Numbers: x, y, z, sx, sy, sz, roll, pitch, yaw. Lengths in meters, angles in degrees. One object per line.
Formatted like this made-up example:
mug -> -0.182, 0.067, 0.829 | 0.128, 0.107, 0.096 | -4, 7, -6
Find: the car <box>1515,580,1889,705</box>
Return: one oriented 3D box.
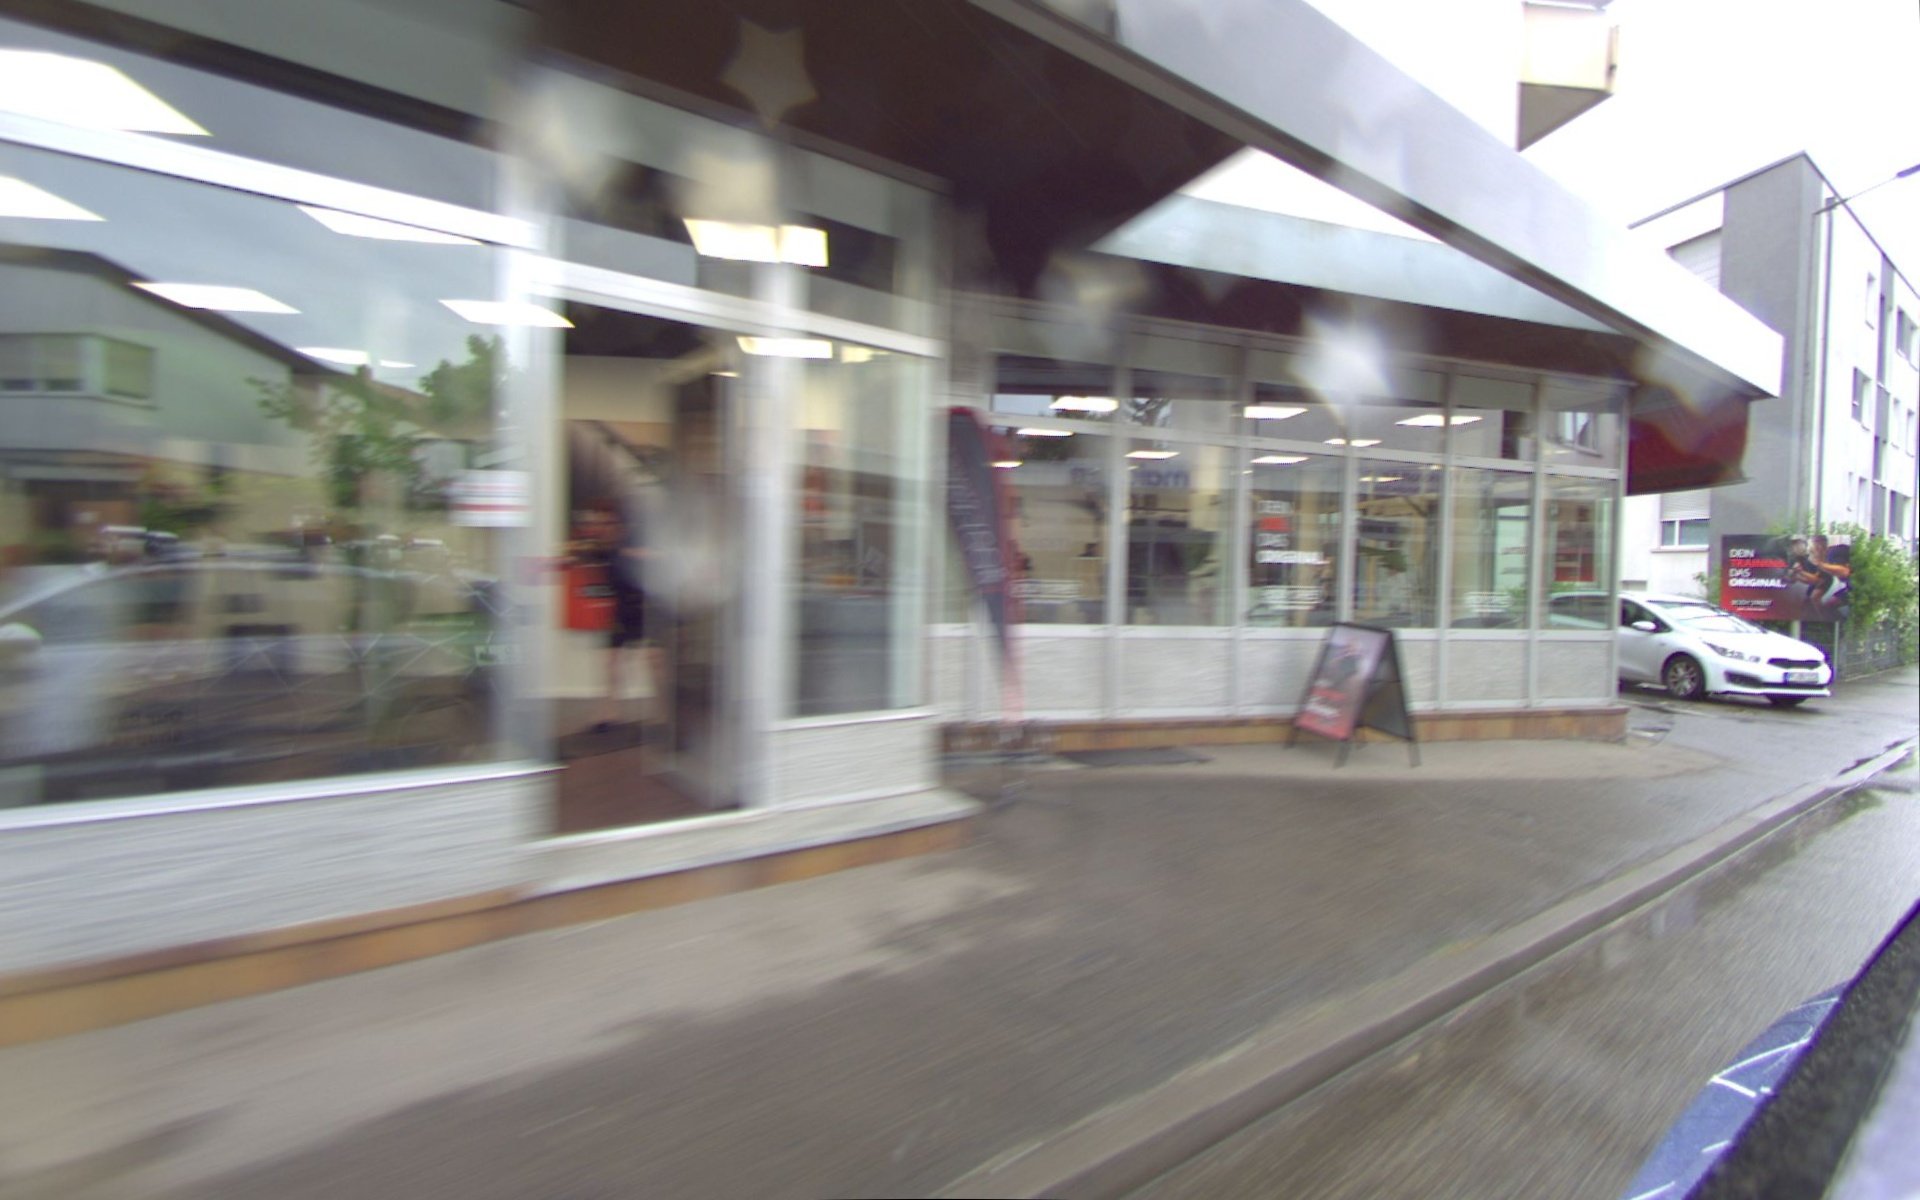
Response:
car -> 10.535, 0.523, 14.859 | 1.834, 1.513, 4.279 | 3, 0, -10
